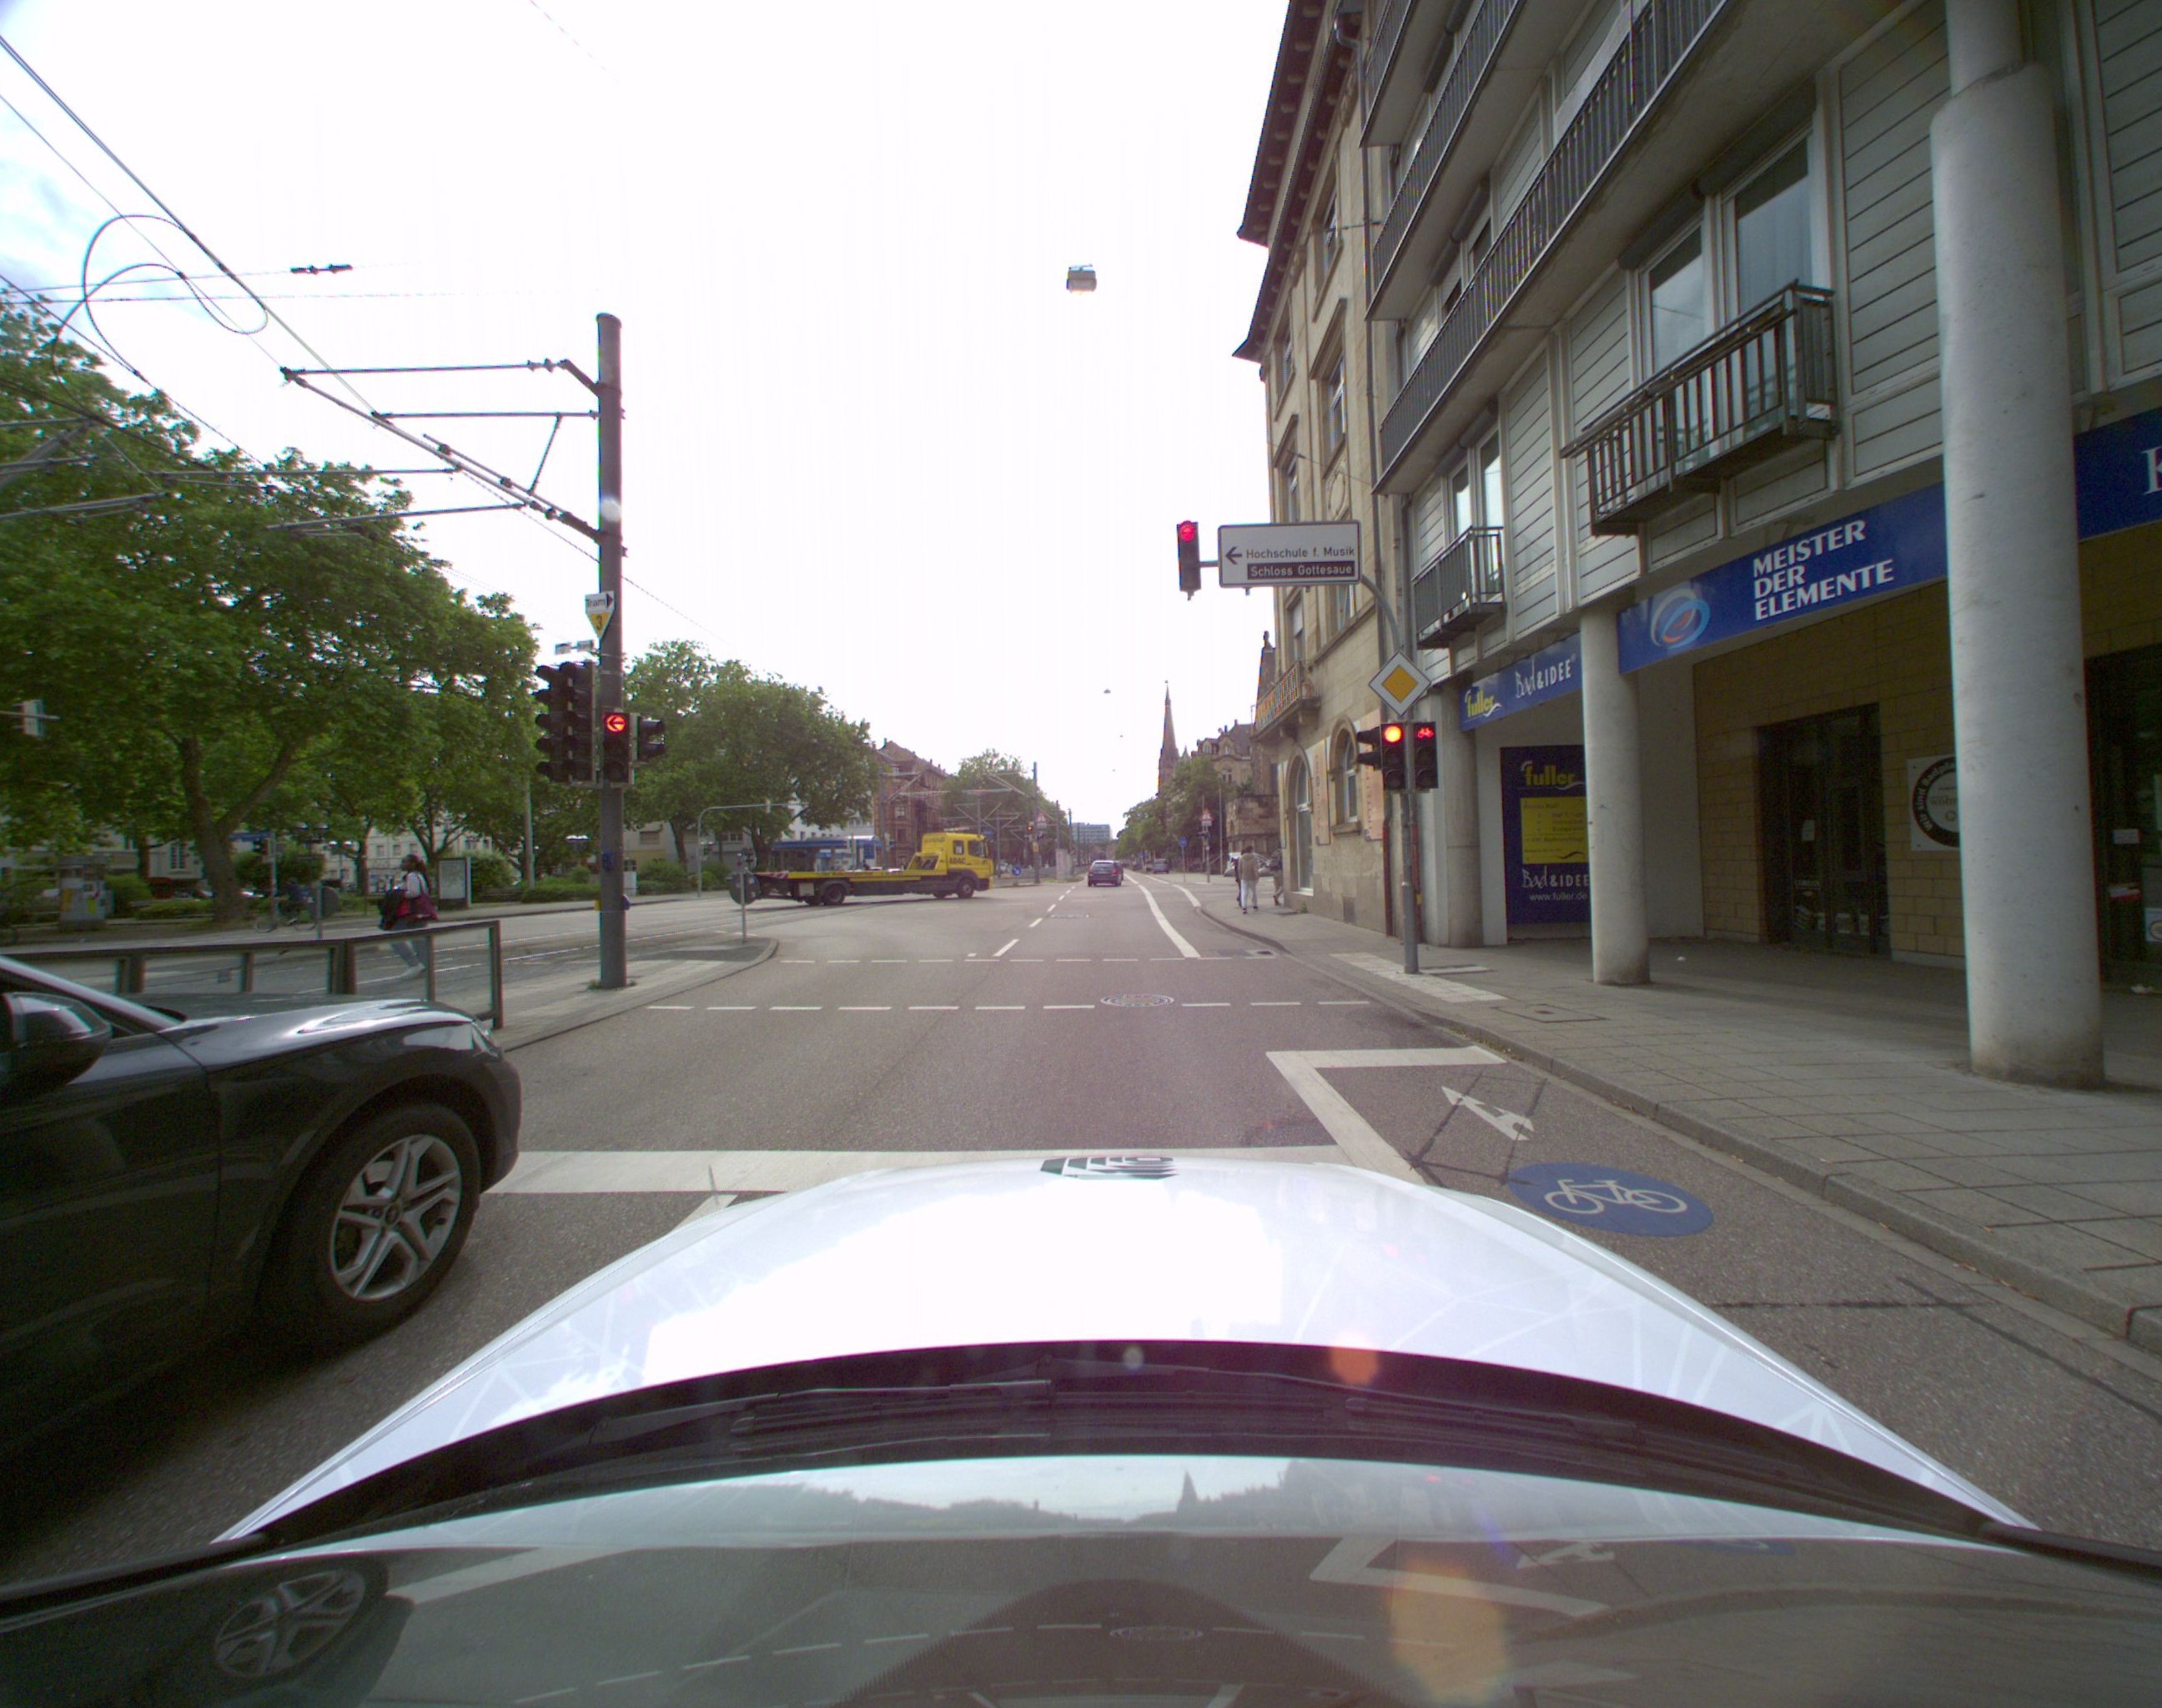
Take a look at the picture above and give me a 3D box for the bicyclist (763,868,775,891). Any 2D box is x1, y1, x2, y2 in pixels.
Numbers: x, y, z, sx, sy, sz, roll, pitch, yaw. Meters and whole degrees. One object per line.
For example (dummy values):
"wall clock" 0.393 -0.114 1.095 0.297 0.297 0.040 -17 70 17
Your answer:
"bicyclist" -21.462 1.772 55.978 0.585 1.568 0.619 0 -1 1

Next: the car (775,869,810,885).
"car" -28.741 2.273 81.323 1.986 1.530 4.001 0 -1 2

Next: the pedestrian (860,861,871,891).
"pedestrian" -13.135 1.333 49.680 0.571 1.794 0.518 0 -1 -3

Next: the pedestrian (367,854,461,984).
"pedestrian" -9.048 0.848 11.056 0.663 1.680 0.874 -1 -1 40

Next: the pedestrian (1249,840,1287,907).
"pedestrian" 5.209 0.522 22.615 0.620 1.778 1.141 -5 -2 28

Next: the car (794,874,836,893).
"car" -19.430 2.145 59.623 1.628 1.325 4.001 0 -1 2

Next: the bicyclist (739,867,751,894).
"bicyclist" -22.748 1.792 55.101 0.528 1.784 0.472 -1 -1 21

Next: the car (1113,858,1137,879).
"car" 3.364 1.116 63.001 1.799 1.586 4.342 0 -1 2

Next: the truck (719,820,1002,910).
"truck" -7.993 0.349 30.925 10.230 2.941 2.607 0 -1 -39

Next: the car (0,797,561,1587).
"car" -3.145 0.694 1.210 1.873 1.601 4.358 -1 -1 1

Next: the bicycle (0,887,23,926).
"bicycle" -33.315 1.589 24.381 1.910 1.142 0.623 0 -1 -28

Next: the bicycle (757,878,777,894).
"bicycle" -21.469 2.188 55.689 0.520 1.017 1.937 0 -1 2

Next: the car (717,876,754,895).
"car" -29.928 2.719 70.631 1.892 1.557 3.828 0 -1 -6

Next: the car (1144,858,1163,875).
"car" 8.833 1.548 99.627 1.986 2.014 4.001 0 -1 1

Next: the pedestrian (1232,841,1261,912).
"pedestrian" 4.375 0.581 21.490 0.578 1.813 1.020 0 -1 21

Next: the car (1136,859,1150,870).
"car" 9.723 1.674 128.357 1.986 1.607 4.165 -3 -1 1

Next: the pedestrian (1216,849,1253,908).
"pedestrian" 4.365 0.682 23.198 0.620 1.653 1.003 -1 -1 39

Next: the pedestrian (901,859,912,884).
"pedestrian" -11.195 1.118 52.219 0.651 1.537 0.465 0 -1 -3

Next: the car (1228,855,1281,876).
"car" 13.756 0.889 64.728 3.785 1.601 2.001 0 -1 1

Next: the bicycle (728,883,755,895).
"bicycle" -22.935 2.367 55.042 1.665 0.773 0.659 -1 -1 22

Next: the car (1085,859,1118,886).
"car" 1.175 1.021 46.490 1.828 1.469 3.994 0 -1 1

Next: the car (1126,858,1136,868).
"car" 10.622 1.875 172.380 1.986 2.014 4.001 0 -1 2

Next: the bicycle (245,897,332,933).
"bicycle" -26.664 2.041 27.435 1.943 1.136 0.731 0 -1 -19

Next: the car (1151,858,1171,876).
"car" 8.813 1.431 89.973 1.986 2.014 4.001 0 -1 1

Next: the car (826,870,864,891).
"car" -19.085 2.125 65.961 1.887 1.557 3.837 0 -1 2

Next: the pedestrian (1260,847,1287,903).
"pedestrian" 5.615 0.612 23.802 0.696 1.593 0.833 0 -1 10

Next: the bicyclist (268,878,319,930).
"bicyclist" -26.549 1.666 27.472 1.041 1.683 0.641 0 -1 -19

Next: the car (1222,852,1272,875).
"car" 13.866 0.780 68.140 3.785 1.904 2.001 0 -1 1

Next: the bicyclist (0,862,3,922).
"bicyclist" -33.282 1.146 24.437 0.970 1.819 0.527 0 -1 -27
